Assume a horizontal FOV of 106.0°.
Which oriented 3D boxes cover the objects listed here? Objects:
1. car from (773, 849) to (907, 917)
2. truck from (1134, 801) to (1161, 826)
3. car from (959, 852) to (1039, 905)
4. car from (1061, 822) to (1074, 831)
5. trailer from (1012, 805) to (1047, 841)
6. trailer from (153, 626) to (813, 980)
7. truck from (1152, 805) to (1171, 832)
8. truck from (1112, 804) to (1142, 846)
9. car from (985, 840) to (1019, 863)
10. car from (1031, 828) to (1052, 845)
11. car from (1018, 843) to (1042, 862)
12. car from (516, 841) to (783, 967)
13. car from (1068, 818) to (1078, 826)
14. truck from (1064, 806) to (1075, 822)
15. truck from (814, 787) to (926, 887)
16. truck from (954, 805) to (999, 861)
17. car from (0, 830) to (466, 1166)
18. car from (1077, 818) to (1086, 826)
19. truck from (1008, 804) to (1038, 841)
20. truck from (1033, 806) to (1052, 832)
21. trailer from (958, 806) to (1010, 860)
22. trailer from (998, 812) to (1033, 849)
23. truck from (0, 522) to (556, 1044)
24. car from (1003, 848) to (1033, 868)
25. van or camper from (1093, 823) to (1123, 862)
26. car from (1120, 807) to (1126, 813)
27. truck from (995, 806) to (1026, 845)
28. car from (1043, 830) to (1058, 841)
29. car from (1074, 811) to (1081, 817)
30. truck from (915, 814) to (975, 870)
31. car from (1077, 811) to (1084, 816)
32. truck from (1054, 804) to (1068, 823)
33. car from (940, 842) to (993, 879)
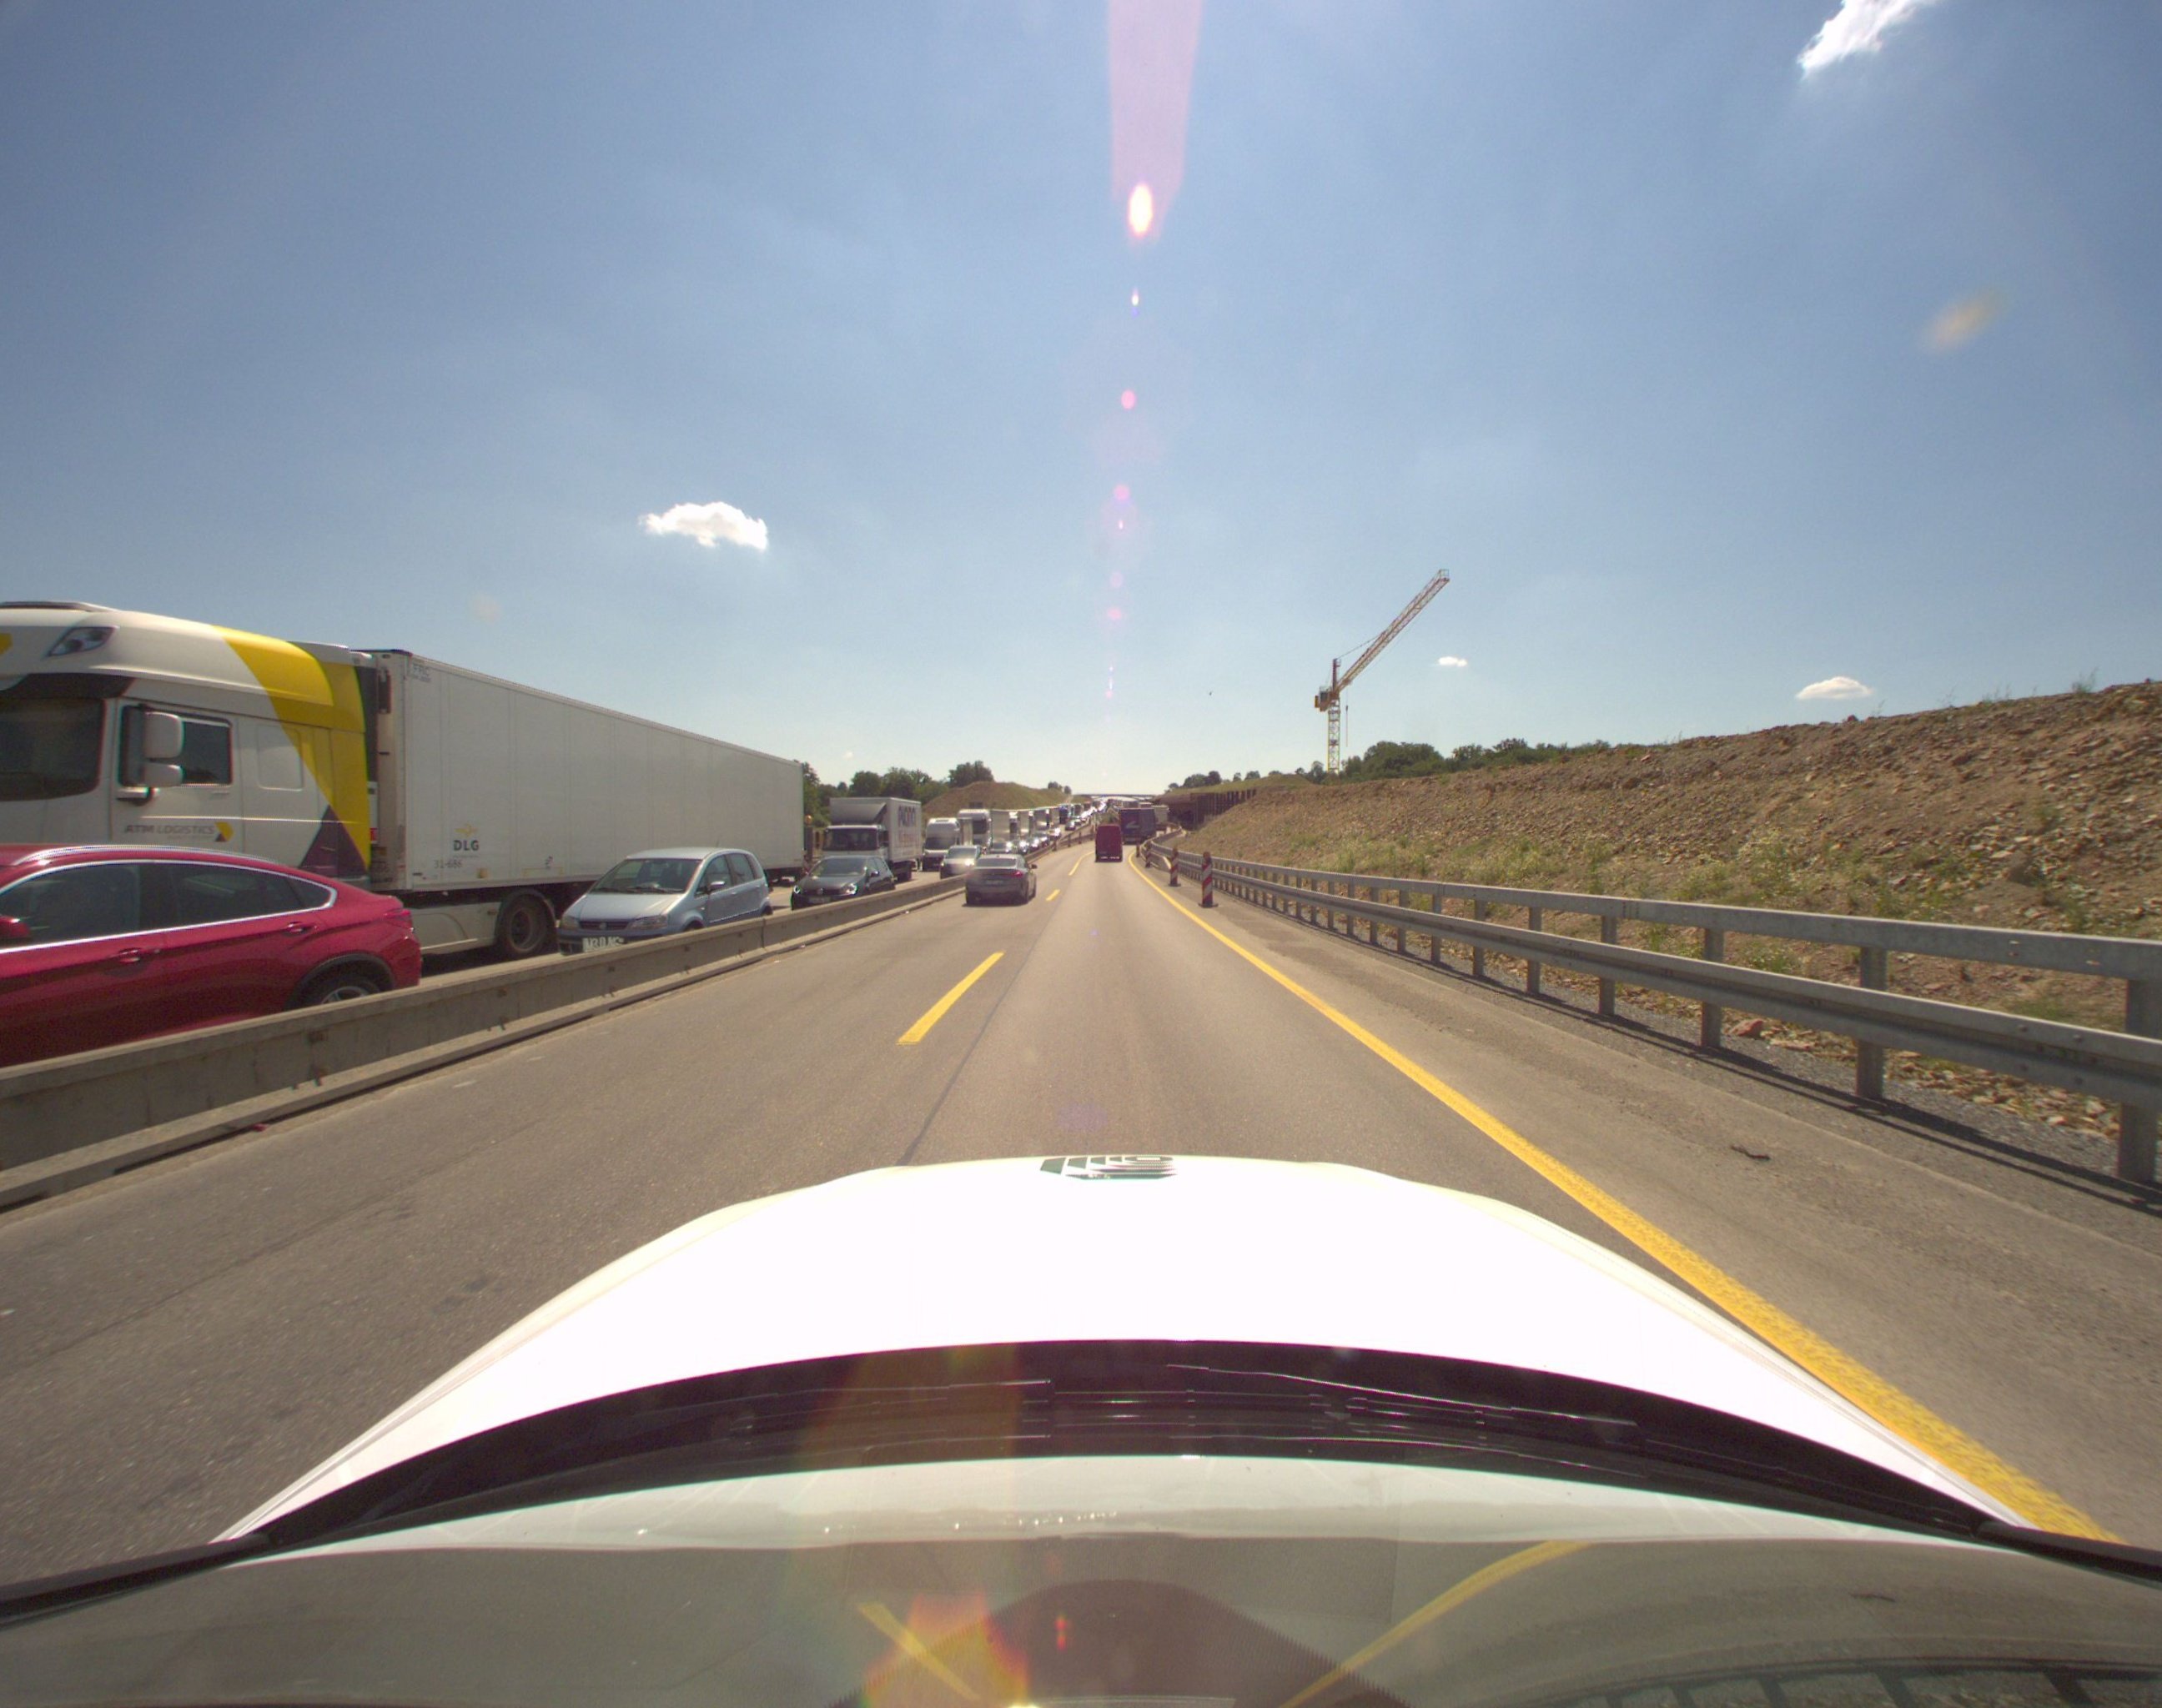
[{"bbox_3d":[-6.057,0.671,21.054,1.985,1.557,4.342,-1,0,3],"label":"car"},{"bbox_3d":[15.164,-9.097,184.447,5.133,4.996,13.904,-3,1,7],"label":"truck"},{"bbox_3d":[-2.386,0.673,24.893,1.845,1.452,4.744,0,0,2],"label":"car"},{"bbox_3d":[-2.332,-4.686,139.342,1.945,1.530,4.269,-1,1,1],"label":"car"},{"bbox_3d":[-6.846,-4.064,110.053,3.029,4.551,12.142,-1,1,4],"label":"trailer"},{"bbox_3d":[-9.441,-0.640,16.698,2.975,4.208,13.949,0,0,1],"label":"trailer"},{"bbox_3d":[13.607,-5.926,137.830,3.022,4.100,7.097,-1,0,6],"label":"truck"},{"bbox_3d":[5.428,-3.369,97.054,3.011,4.692,6.931,-2,1,-1],"label":"truck"},{"bbox_3d":[-5.459,-0.162,56.546,1.820,1.535,4.547,-1,0,1],"label":"car"},{"bbox_3d":[-4.249,-1.917,88.593,1.987,1.783,4.000,-1,1,0],"label":"car"},{"bbox_3d":[-4.764,-0.127,76.891,1.987,1.783,4.000,-1,0,0],"label":"car"},{"bbox_3d":[-6.195,0.643,12.306,1.820,1.574,4.001,-1,0,1],"label":"car"},{"bbox_3d":[-1.559,-6.258,159.058,1.945,1.530,4.269,-1,1,1],"label":"car"},{"bbox_3d":[-2.909,-10.127,206.948,2.879,3.838,8.000,-1,1,0],"label":"truck"},{"bbox_3d":[-8.987,-0.709,35.835,2.516,3.855,8.672,0,1,1],"label":"truck"},{"bbox_3d":[-8.299,-1.662,65.174,2.541,4.230,6.533,-1,1,1],"label":"truck"},{"bbox_3d":[-6.286,0.689,4.595,1.987,1.631,4.758,1,1,0],"label":"car"},{"bbox_3d":[0.088,-6.878,176.054,1.945,1.530,4.269,-1,1,1],"label":"car"},{"bbox_3d":[-7.336,-3.982,103.857,3.039,4.480,5.986,-1,1,3],"label":"truck"},{"bbox_3d":[-5.927,-5.422,127.277,2.675,3.838,7.385,-1,1,0],"label":"truck"},{"bbox_3d":[-8.168,-1.776,70.385,2.585,4.257,12.473,-1,1,2],"label":"trailer"},{"bbox_3d":[-7.375,-2.562,92.924,2.773,3.931,11.011,-1,0,1],"label":"trailer"},{"bbox_3d":[-9.594,-0.577,9.494,2.966,4.184,5.876,0,0,2],"label":"truck"},{"bbox_3d":[-5.164,0.311,67.087,1.896,1.376,4.548,-3,1,1],"label":"car"},{"bbox_3d":[1.982,-0.884,60.363,2.023,2.744,4.515,0,1,0],"label":"van or camper"},{"bbox_3d":[13.188,-13.909,256.164,1.945,1.640,4.269,-1,1,1],"label":"car"},{"bbox_3d":[-7.460,-2.982,86.678,2.773,3.869,5.460,-1,0,0],"label":"truck"},{"bbox_3d":[-3.981,-2.427,107.790,1.740,1.409,4.002,-1,1,1],"label":"car"},{"bbox_3d":[-1.145,-12.323,248.816,1.946,1.530,4.268,-1,0,1],"label":"car"},{"bbox_3d":[-8.207,-0.761,50.082,2.426,3.148,7.024,-1,1,0],"label":"truck"},{"bbox_3d":[-0.174,-12.680,255.193,1.946,1.530,4.268,-1,1,1],"label":"car"},{"bbox_3d":[-4.171,-8.606,173.033,2.879,3.838,8.000,-1,1,0],"label":"truck"},{"bbox_3d":[-5.389,0.305,38.844,1.820,1.651,4.547,-1,0,1],"label":"car"}]
